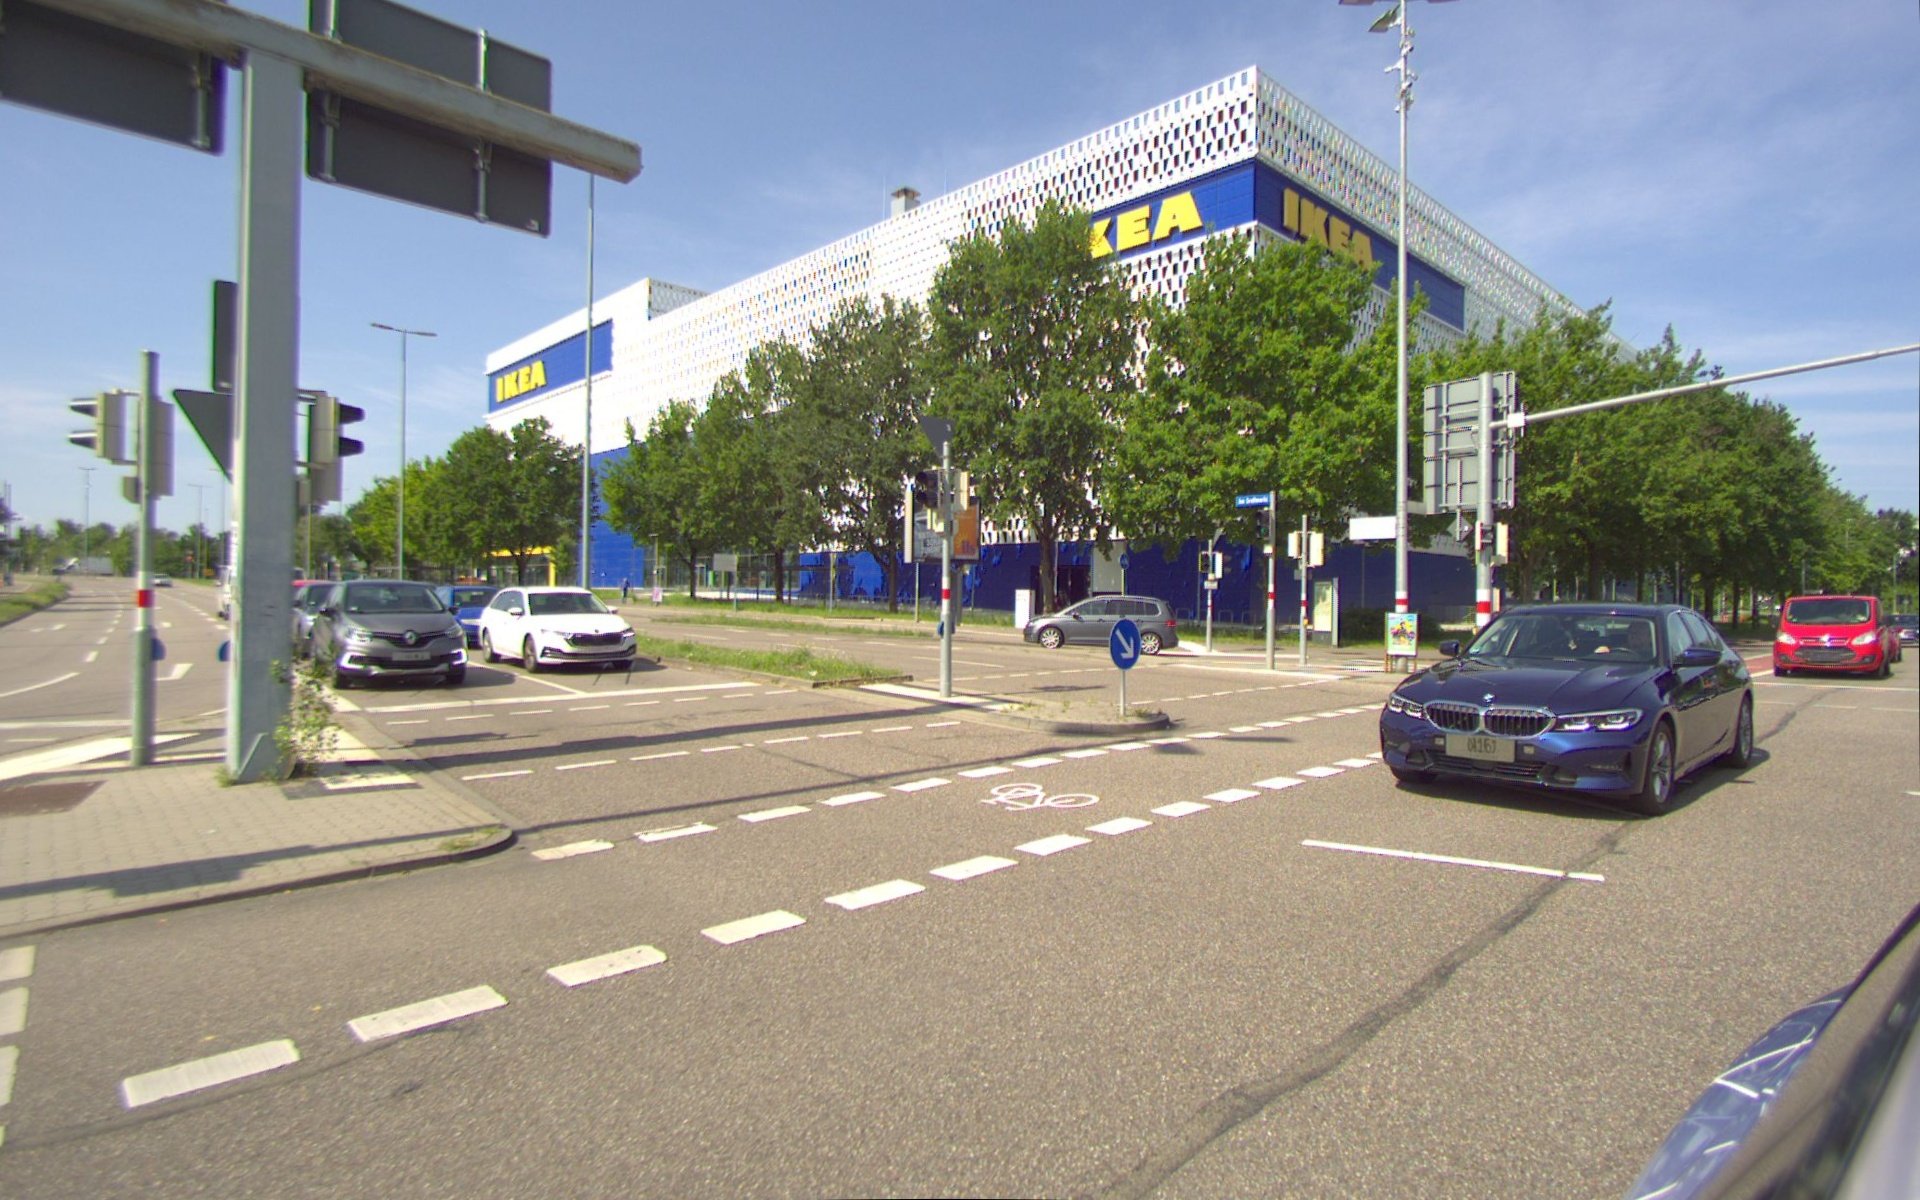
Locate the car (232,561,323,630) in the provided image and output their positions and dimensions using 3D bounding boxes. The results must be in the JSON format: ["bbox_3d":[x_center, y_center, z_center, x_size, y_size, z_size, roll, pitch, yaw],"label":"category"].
[{"bbox_3d":[-21.658,-0.192,32.038,1.928,2.000,4.684,-2,2,-39],"label":"car"}]

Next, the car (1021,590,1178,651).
[{"bbox_3d":[3.952,0.550,29.145,4.314,1.676,1.997,0,0,6],"label":"car"}]

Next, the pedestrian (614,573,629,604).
[{"bbox_3d":[-23.090,-0.776,68.989,0.596,2.039,0.674,-3,-2,32],"label":"pedestrian"}]

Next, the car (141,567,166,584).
[{"bbox_3d":[-86.158,-2.635,108.101,1.852,1.704,3.994,0,2,-42],"label":"car"}]

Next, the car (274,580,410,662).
[{"bbox_3d":[-13.206,0.365,21.538,1.875,1.527,4.036,-1,2,-40],"label":"car"}]

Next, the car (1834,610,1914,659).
[{"bbox_3d":[29.490,1.072,32.623,3.851,1.441,1.689,0,-1,-45],"label":"car"}]

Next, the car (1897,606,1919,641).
[{"bbox_3d":[44.867,1.067,47.135,1.645,1.560,3.936,-4,-3,44],"label":"car"}]

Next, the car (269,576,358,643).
[{"bbox_3d":[-16.690,0.213,26.065,1.570,1.595,3.478,1,0,-39],"label":"car"}]

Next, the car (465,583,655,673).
[{"bbox_3d":[-7.564,0.415,18.863,1.924,1.443,4.726,-1,1,-40],"label":"car"}]

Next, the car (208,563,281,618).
[{"bbox_3d":[-27.050,-0.381,38.214,1.880,1.960,4.784,-1,1,-40],"label":"car"}]

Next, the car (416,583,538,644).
[{"bbox_3d":[-11.685,0.275,24.351,1.694,1.359,4.051,-1,1,-40],"label":"car"}]

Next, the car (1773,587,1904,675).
[{"bbox_3d":[21.303,0.709,24.474,4.731,1.932,2.009,0,-2,-45],"label":"car"}]

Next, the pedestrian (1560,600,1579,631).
[{"bbox_3d":[31.709,0.789,52.663,0.767,1.566,0.679,1,0,-44],"label":"pedestrian"}]

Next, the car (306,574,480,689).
[{"bbox_3d":[-9.030,0.415,15.966,1.776,1.578,3.893,0,0,-39],"label":"car"}]

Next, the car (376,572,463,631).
[{"bbox_3d":[-16.335,0.018,30.494,1.653,1.640,4.127,0,0,-38],"label":"car"}]

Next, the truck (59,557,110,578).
[{"bbox_3d":[-135.266,-5.051,156.440,5.879,3.067,1.994,-1,-2,-45],"label":"truck"}]

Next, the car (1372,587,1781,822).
[{"bbox_3d":[5.301,0.660,8.419,4.461,1.447,1.797,1,-1,-43],"label":"car"}]

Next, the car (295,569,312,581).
[{"bbox_3d":[-94.734,-3.588,146.089,1.612,1.555,3.911,1,0,-40],"label":"car"}]
